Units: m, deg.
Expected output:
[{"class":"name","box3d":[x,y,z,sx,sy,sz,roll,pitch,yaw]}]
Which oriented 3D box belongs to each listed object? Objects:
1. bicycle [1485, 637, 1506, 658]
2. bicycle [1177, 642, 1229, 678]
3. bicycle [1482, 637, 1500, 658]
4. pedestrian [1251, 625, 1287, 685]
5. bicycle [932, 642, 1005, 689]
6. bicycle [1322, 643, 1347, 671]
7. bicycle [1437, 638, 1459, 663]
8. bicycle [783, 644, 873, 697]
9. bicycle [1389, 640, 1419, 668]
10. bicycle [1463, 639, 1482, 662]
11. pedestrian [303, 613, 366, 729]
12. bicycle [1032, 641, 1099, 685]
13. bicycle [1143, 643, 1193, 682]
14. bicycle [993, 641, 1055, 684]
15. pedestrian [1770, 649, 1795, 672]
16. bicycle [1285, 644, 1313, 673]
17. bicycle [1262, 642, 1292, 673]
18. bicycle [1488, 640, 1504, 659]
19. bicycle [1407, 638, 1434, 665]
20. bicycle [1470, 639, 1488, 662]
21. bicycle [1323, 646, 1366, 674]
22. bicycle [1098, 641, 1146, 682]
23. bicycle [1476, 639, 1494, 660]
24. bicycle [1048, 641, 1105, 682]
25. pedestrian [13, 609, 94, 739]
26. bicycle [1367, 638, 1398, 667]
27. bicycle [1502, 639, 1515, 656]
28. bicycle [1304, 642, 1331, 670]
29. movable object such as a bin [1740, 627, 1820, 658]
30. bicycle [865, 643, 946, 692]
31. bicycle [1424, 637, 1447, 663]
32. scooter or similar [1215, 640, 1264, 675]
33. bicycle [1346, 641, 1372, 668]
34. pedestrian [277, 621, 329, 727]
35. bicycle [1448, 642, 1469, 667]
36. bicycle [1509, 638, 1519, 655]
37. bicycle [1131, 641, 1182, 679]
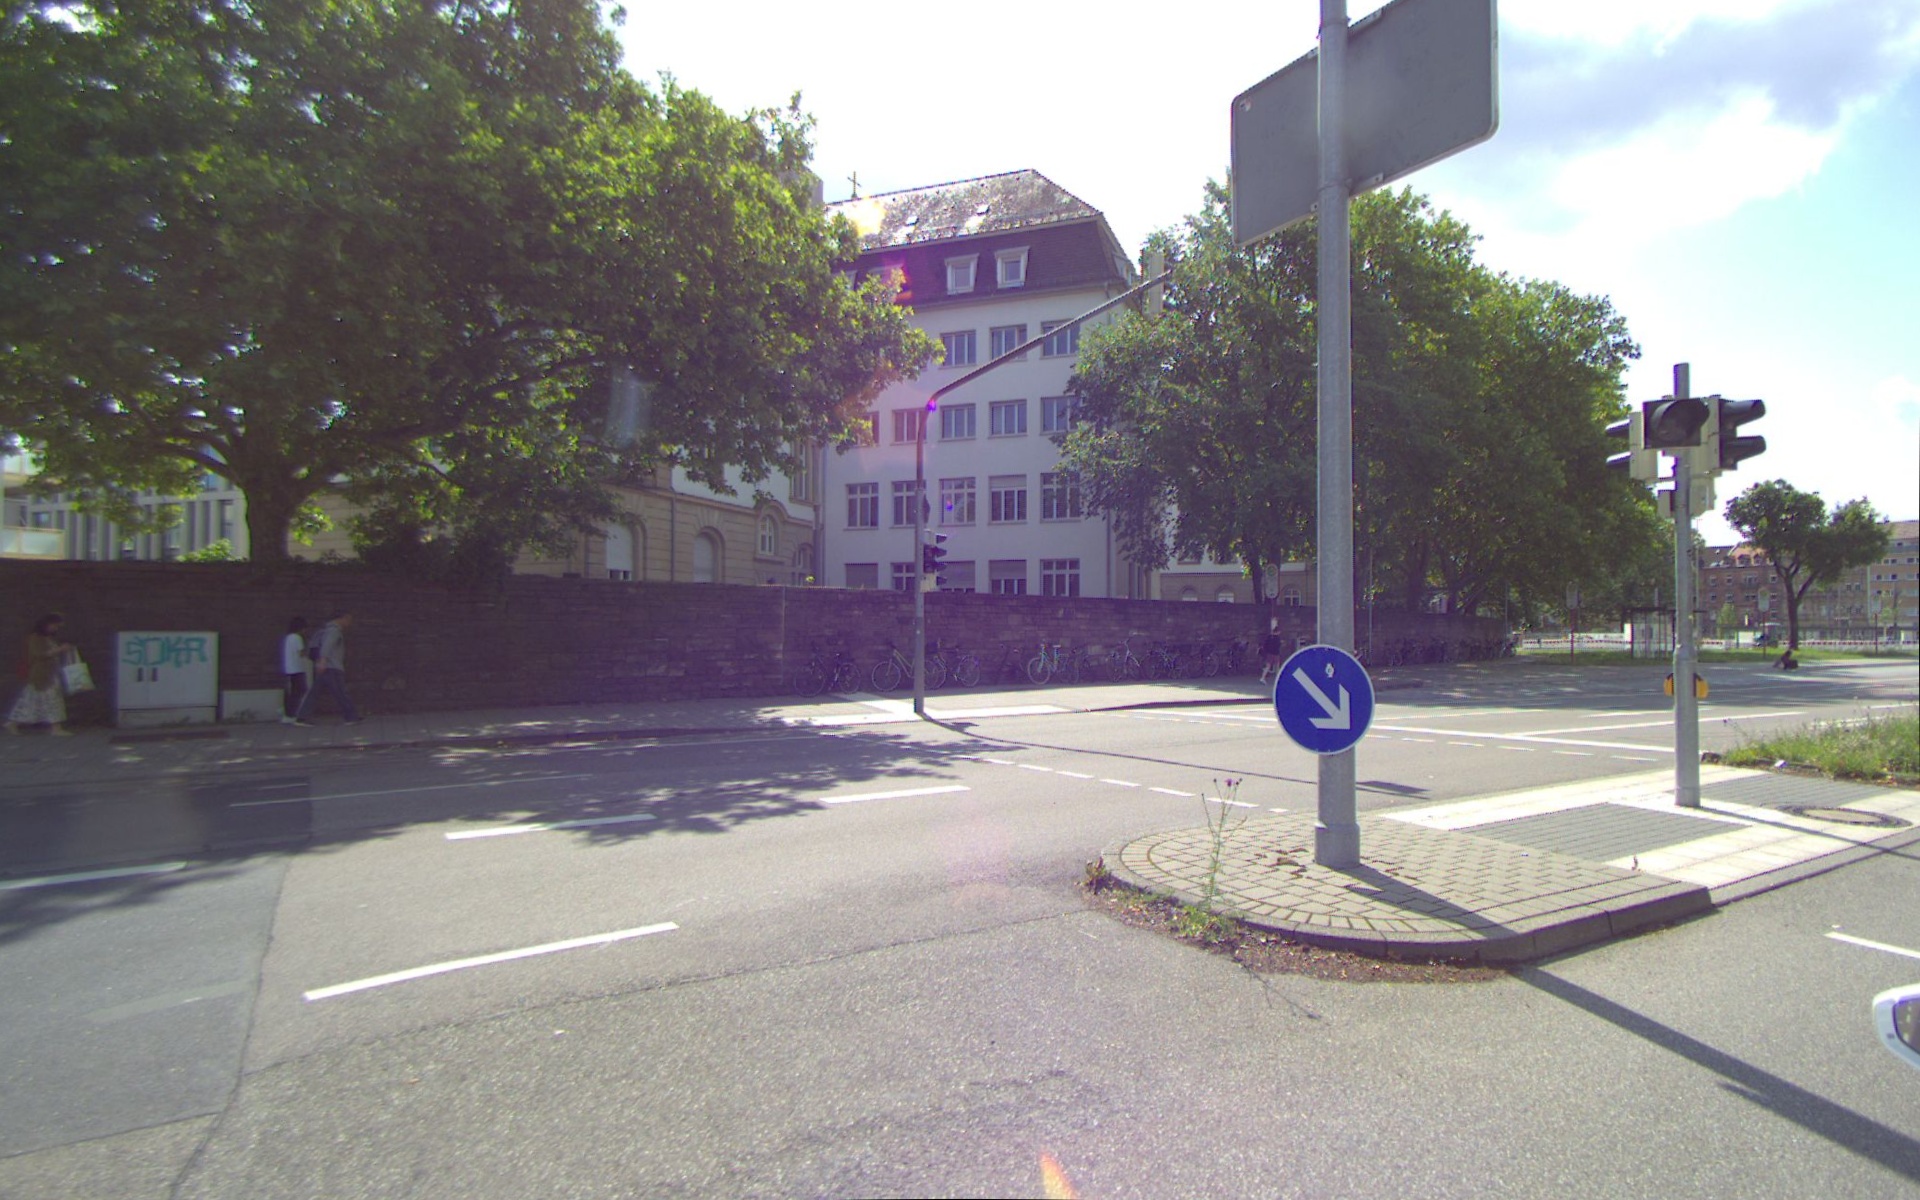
[{"class":"bicycle","box3d":[29.335,2.604,55.019,0.575,1.087,1.860,-1,-2,41]},{"class":"bicycle","box3d":[7.369,1.797,30.390,1.867,1.062,0.575,2,-2,-41]},{"class":"bicycle","box3d":[28.291,2.525,53.503,0.575,1.087,1.625,0,-2,37]},{"class":"pedestrian","box3d":[8.546,1.503,27.786,0.738,1.631,0.651,1,-1,-39]},{"class":"bicycle","box3d":[0.218,1.556,24.146,1.867,1.062,0.559,2,-2,-41]},{"class":"bicycle","box3d":[13.523,2.037,36.248,0.362,0.968,1.394,-1,-2,43]},{"class":"bicycle","box3d":[21.819,2.231,44.906,0.575,1.087,1.749,0,-2,37]},{"class":"bicycle","box3d":[-2.808,1.481,21.469,1.867,1.062,0.624,2,-2,-41]},{"class":"bicycle","box3d":[17.971,2.161,40.669,0.576,1.087,1.746,-1,-2,43]},{"class":"bicycle","box3d":[25.246,2.466,49.429,0.575,1.087,1.625,0,-2,37]},{"class":"pedestrian","box3d":[-9.328,1.038,14.970,0.724,1.673,0.636,1,-2,-37]},{"class":"bicycle","box3d":[2.711,1.600,25.710,1.867,1.062,0.586,2,-2,-41]},{"class":"bicycle","box3d":[5.966,1.770,28.762,1.867,1.062,0.369,2,-2,-41]},{"class":"bicycle","box3d":[1.638,1.577,25.525,1.867,1.062,0.367,2,-2,-41]},{"class":"pedestrian","box3d":[36.331,2.669,44.361,0.735,0.975,0.690,1,-1,-33]},{"class":"bicycle","box3d":[11.542,1.978,34.155,0.362,0.968,1.394,-1,-2,43]},{"class":"bicycle","box3d":[10.457,1.884,33.120,0.362,0.968,1.394,-1,-2,43]},{"class":"bicycle","box3d":[30.337,2.772,56.829,0.465,1.024,1.956,-1,-2,37]},{"class":"bicycle","box3d":[19.306,2.144,42.108,0.575,1.087,1.747,-1,-2,41]},{"class":"bicycle","box3d":[26.233,2.549,50.774,0.575,1.087,1.625,0,-2,37]},{"class":"bicycle","box3d":[13.434,2.081,35.056,1.601,0.968,0.365,1,-1,-23]},{"class":"bicycle","box3d":[4.459,1.660,27.566,0.583,1.062,1.876,0,-2,33]},{"class":"bicycle","box3d":[27.237,2.559,52.130,0.575,1.087,1.625,0,-2,37]},{"class":"bicycle","box3d":[3.134,1.624,26.828,1.867,1.062,0.367,2,-2,-41]},{"class":"pedestrian","box3d":[-12.064,0.962,13.391,0.720,1.673,0.556,1,-2,-37]},{"class":"bicycle","box3d":[16.390,2.018,38.950,0.576,1.087,1.746,-1,-2,43]},{"class":"bicycle","box3d":[33.094,2.863,60.567,0.465,1.024,1.450,-1,-2,37]},{"class":"bicycle","box3d":[12.531,1.955,35.205,0.362,0.968,1.394,-1,-2,43]},{"class":"movable object such as a bin","box3d":[78.579,4.061,96.337,5.430,2.922,2.290,0,-2,13]},{"class":"bicycle","box3d":[-1.223,1.510,22.857,1.867,1.062,0.624,2,-2,-41]},{"class":"bicycle","box3d":[20.598,2.175,43.530,0.575,1.087,1.749,0,-2,37]},{"class":"scooter or similar","box3d":[8.820,1.798,31.704,1.867,1.062,0.575,2,-2,-41]},{"class":"bicycle","box3d":[14.970,2.037,37.666,0.366,0.968,1.618,-1,-2,43]},{"class":"pedestrian","box3d":[-9.975,1.102,15.245,0.611,1.560,0.472,1,-2,-37]},{"class":"bicycle","box3d":[23.084,2.501,46.465,0.575,1.087,1.749,0,-2,37]},{"class":"bicycle","box3d":[34.565,2.874,62.680,0.348,1.024,1.250,-1,-2,37]},{"class":"bicycle","box3d":[5.704,1.723,29.054,1.867,1.062,0.390,2,-2,-41]}]
